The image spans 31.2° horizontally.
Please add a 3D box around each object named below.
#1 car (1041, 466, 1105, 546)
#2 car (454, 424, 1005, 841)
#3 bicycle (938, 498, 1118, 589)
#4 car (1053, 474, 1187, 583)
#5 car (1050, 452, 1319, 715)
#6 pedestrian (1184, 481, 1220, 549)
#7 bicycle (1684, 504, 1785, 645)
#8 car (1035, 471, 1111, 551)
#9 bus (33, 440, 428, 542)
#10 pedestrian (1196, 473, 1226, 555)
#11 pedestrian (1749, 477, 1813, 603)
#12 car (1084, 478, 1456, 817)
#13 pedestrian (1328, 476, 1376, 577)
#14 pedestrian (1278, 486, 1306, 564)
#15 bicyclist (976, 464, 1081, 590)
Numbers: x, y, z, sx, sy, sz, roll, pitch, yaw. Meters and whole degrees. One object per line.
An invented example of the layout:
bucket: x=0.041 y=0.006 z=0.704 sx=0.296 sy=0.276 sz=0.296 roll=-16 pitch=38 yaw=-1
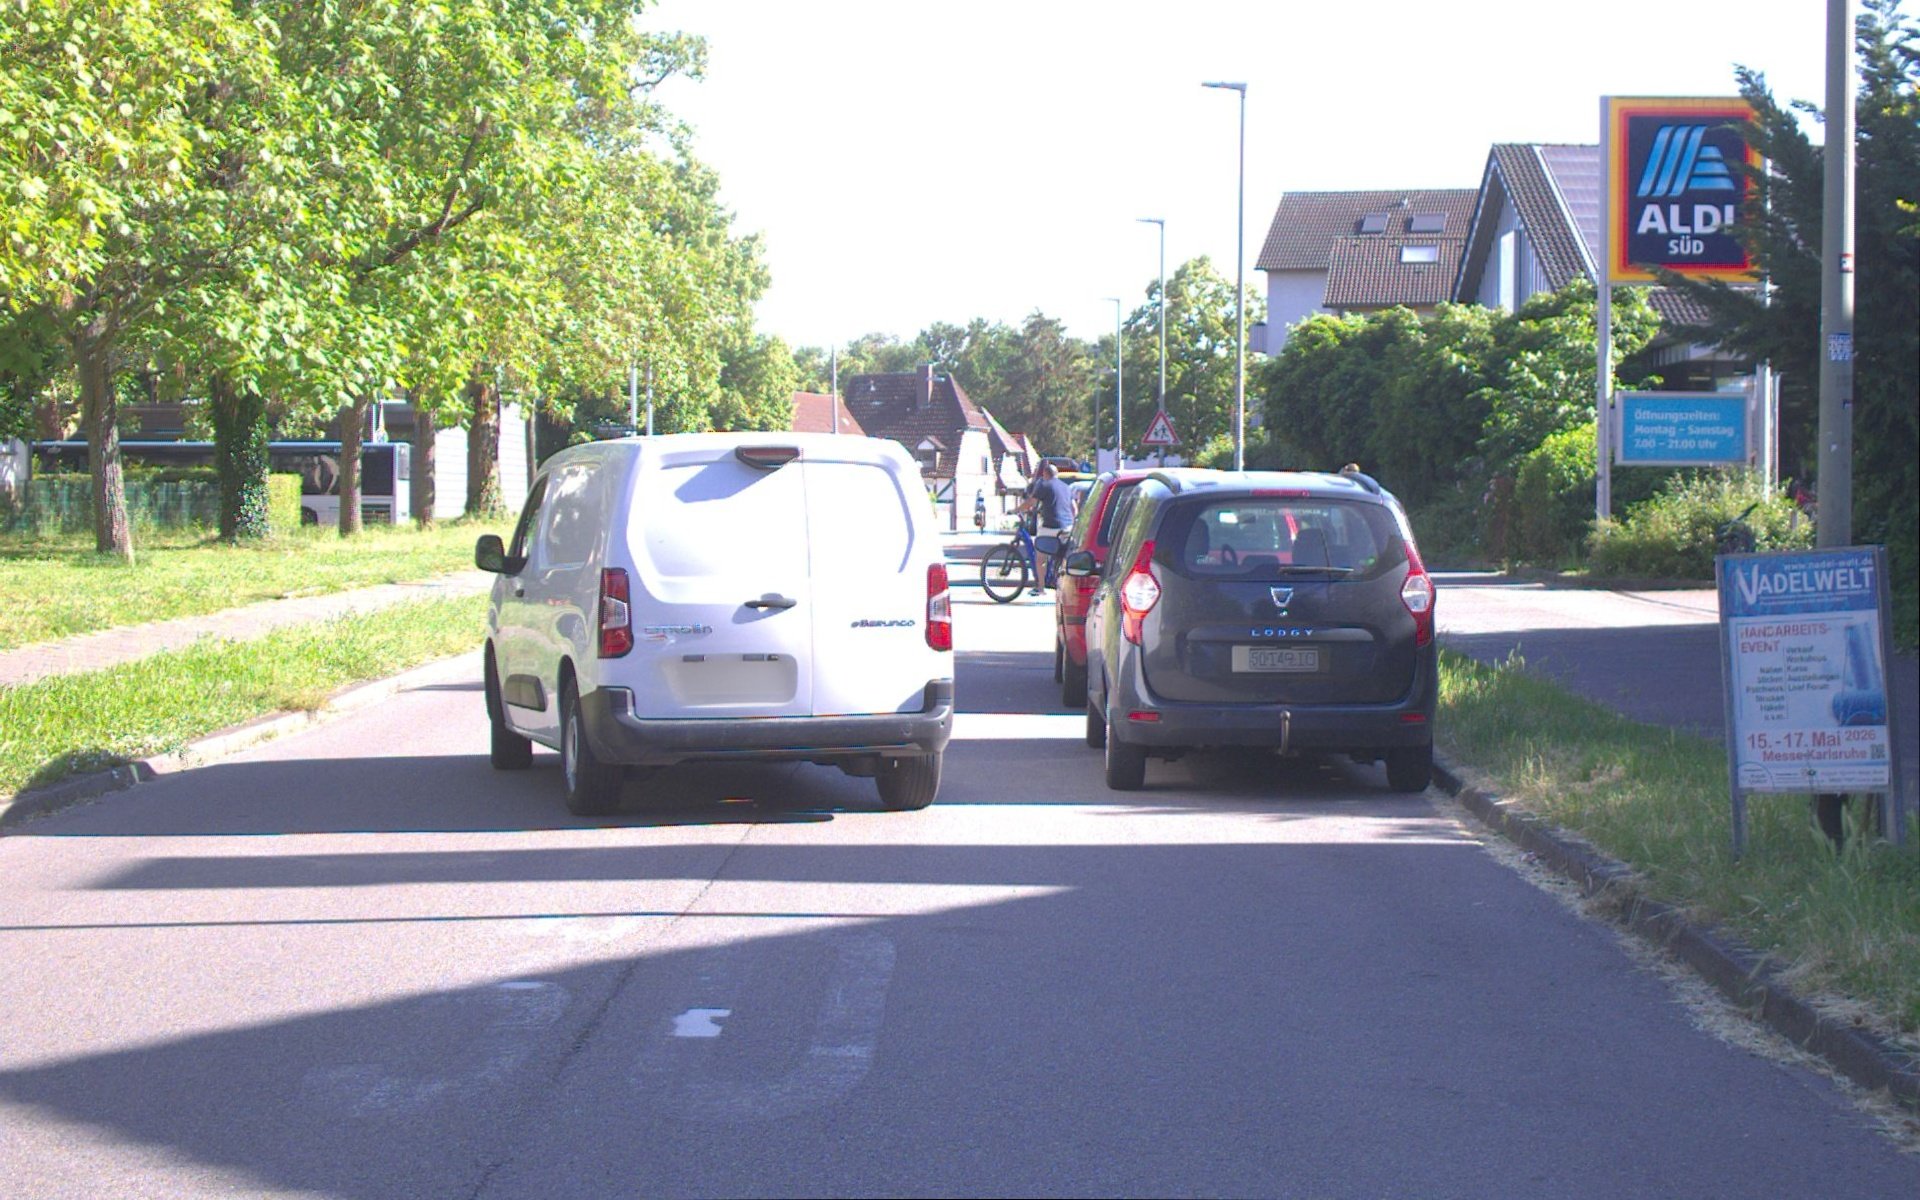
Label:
car: x=3.768 y=-3.135 z=115.580 sx=1.866 sy=2.553 sz=4.768 roll=2 pitch=1 yaw=0
car: x=-1.333 y=0.070 z=17.752 sx=1.993 sy=1.875 sz=4.290 roll=0 pitch=2 yaw=-16
bicycle: x=0.856 y=-0.725 z=43.848 sx=2.277 sy=1.134 sz=0.787 roll=1 pitch=2 yaw=38
car: x=2.420 y=-1.111 z=52.812 sx=1.679 sy=1.594 sz=4.029 roll=1 pitch=2 yaw=-2
car: x=1.617 y=-0.190 z=25.960 sx=1.840 sy=1.799 sz=4.654 roll=0 pitch=2 yaw=2
pedestrian: x=6.607 y=-2.322 z=93.860 sx=0.793 sy=1.855 sz=0.874 roll=0 pitch=2 yaw=-6
bicycle: x=6.999 y=-0.238 z=31.010 sx=0.721 sy=1.216 sz=1.894 roll=-1 pitch=1 yaw=17
car: x=2.688 y=-2.129 z=81.605 sx=1.724 sy=1.831 sz=4.000 roll=1 pitch=2 yaw=2
bus: x=-20.583 y=-3.078 z=97.448 sx=10.556 sy=2.815 sz=3.048 roll=0 pitch=1 yaw=-1
pedestrian: x=5.051 y=-1.738 z=69.279 sx=0.567 sy=1.631 sz=0.546 roll=1 pitch=2 yaw=6
pedestrian: x=10.755 y=-0.797 z=45.021 sx=0.692 sy=1.626 sz=0.776 roll=1 pitch=2 yaw=22
car: x=1.608 y=0.159 z=19.171 sx=1.725 sy=1.650 sz=4.353 roll=0 pitch=2 yaw=1
pedestrian: x=6.967 y=-1.318 z=61.150 sx=0.799 sy=1.775 sz=0.808 roll=1 pitch=2 yaw=9
pedestrian: x=6.997 y=-1.582 z=72.427 sx=0.567 sy=1.631 sz=0.546 roll=1 pitch=2 yaw=6
bicyclist: x=0.869 y=-0.928 z=43.848 sx=0.965 sy=1.579 sz=0.906 roll=2 pitch=1 yaw=39
